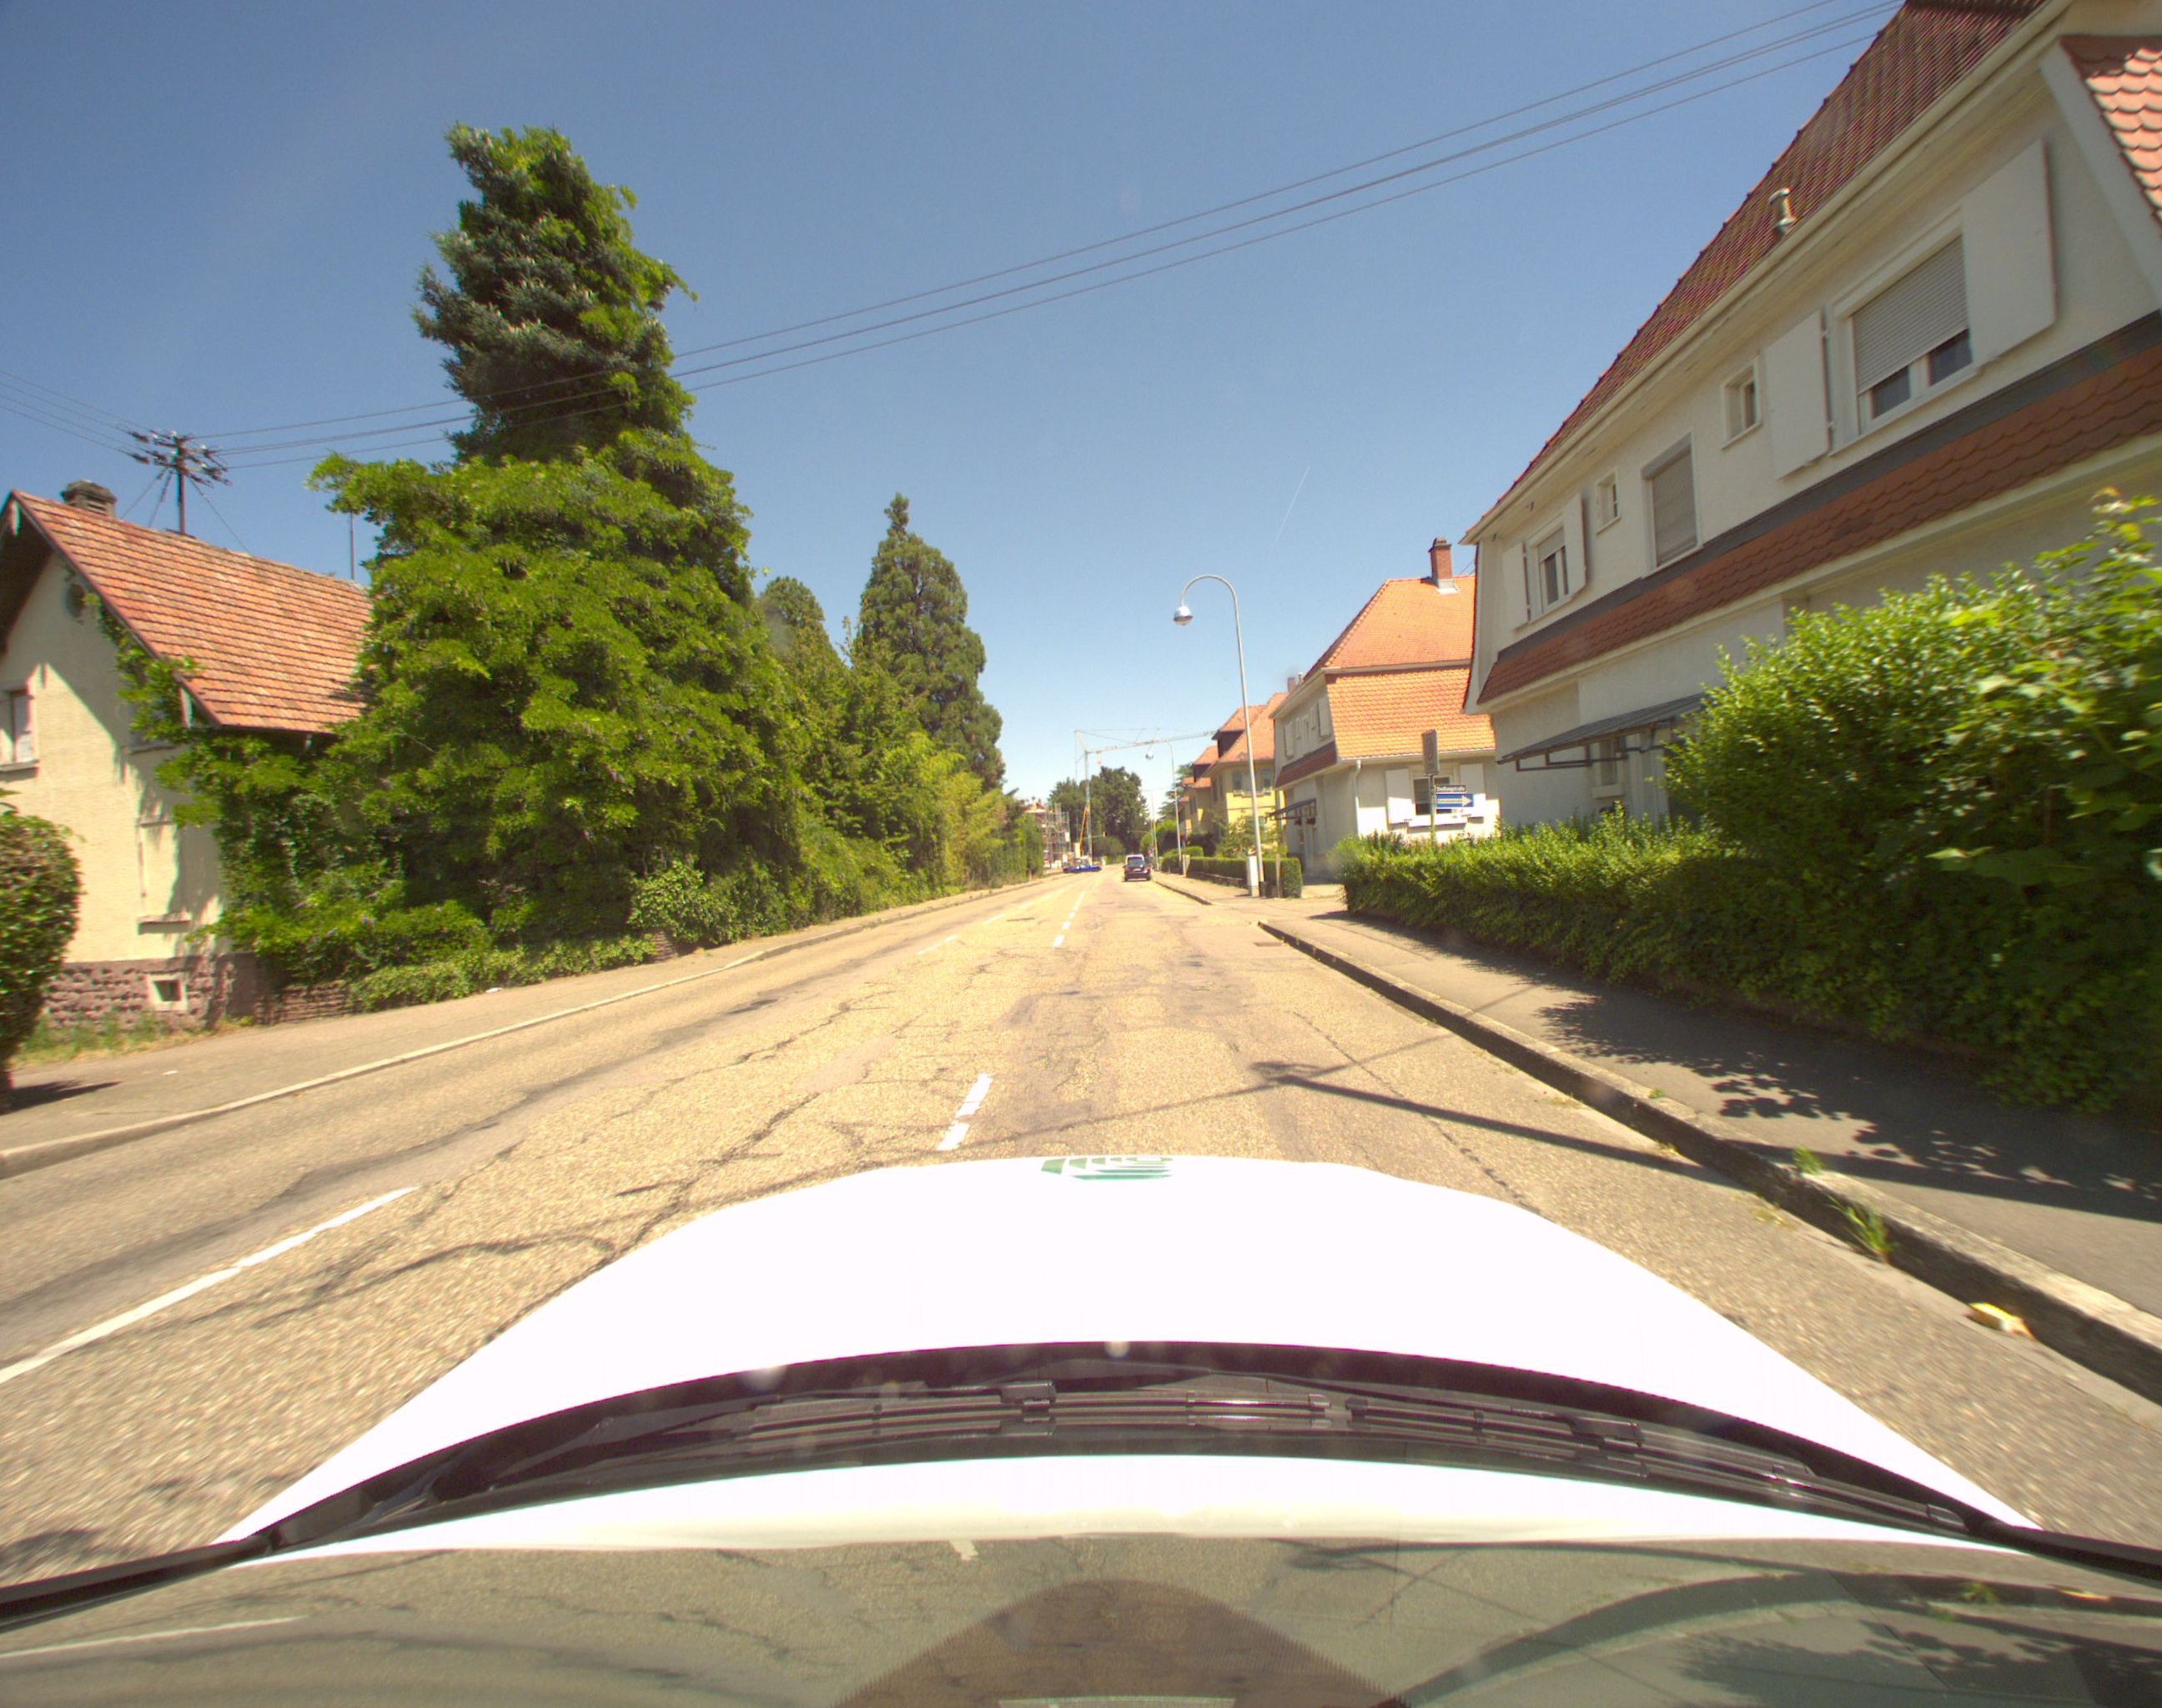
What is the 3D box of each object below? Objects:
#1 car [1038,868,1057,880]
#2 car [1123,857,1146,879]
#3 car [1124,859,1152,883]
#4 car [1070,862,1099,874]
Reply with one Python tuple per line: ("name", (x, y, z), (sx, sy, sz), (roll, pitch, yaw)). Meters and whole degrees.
("car", (-4.399, 2.602, 107.783), (1.650, 1.389, 3.543), (-4, -1, 9))
("car", (4.818, 1.242, 74.054), (1.985, 1.901, 4.825), (-2, -1, 3))
("car", (3.754, 1.122, 54.248), (1.686, 1.419, 4.553), (-3, -1, 2))
("car", (0.560, 2.062, 120.356), (3.987, 1.468, 1.958), (-4, 1, -10))
